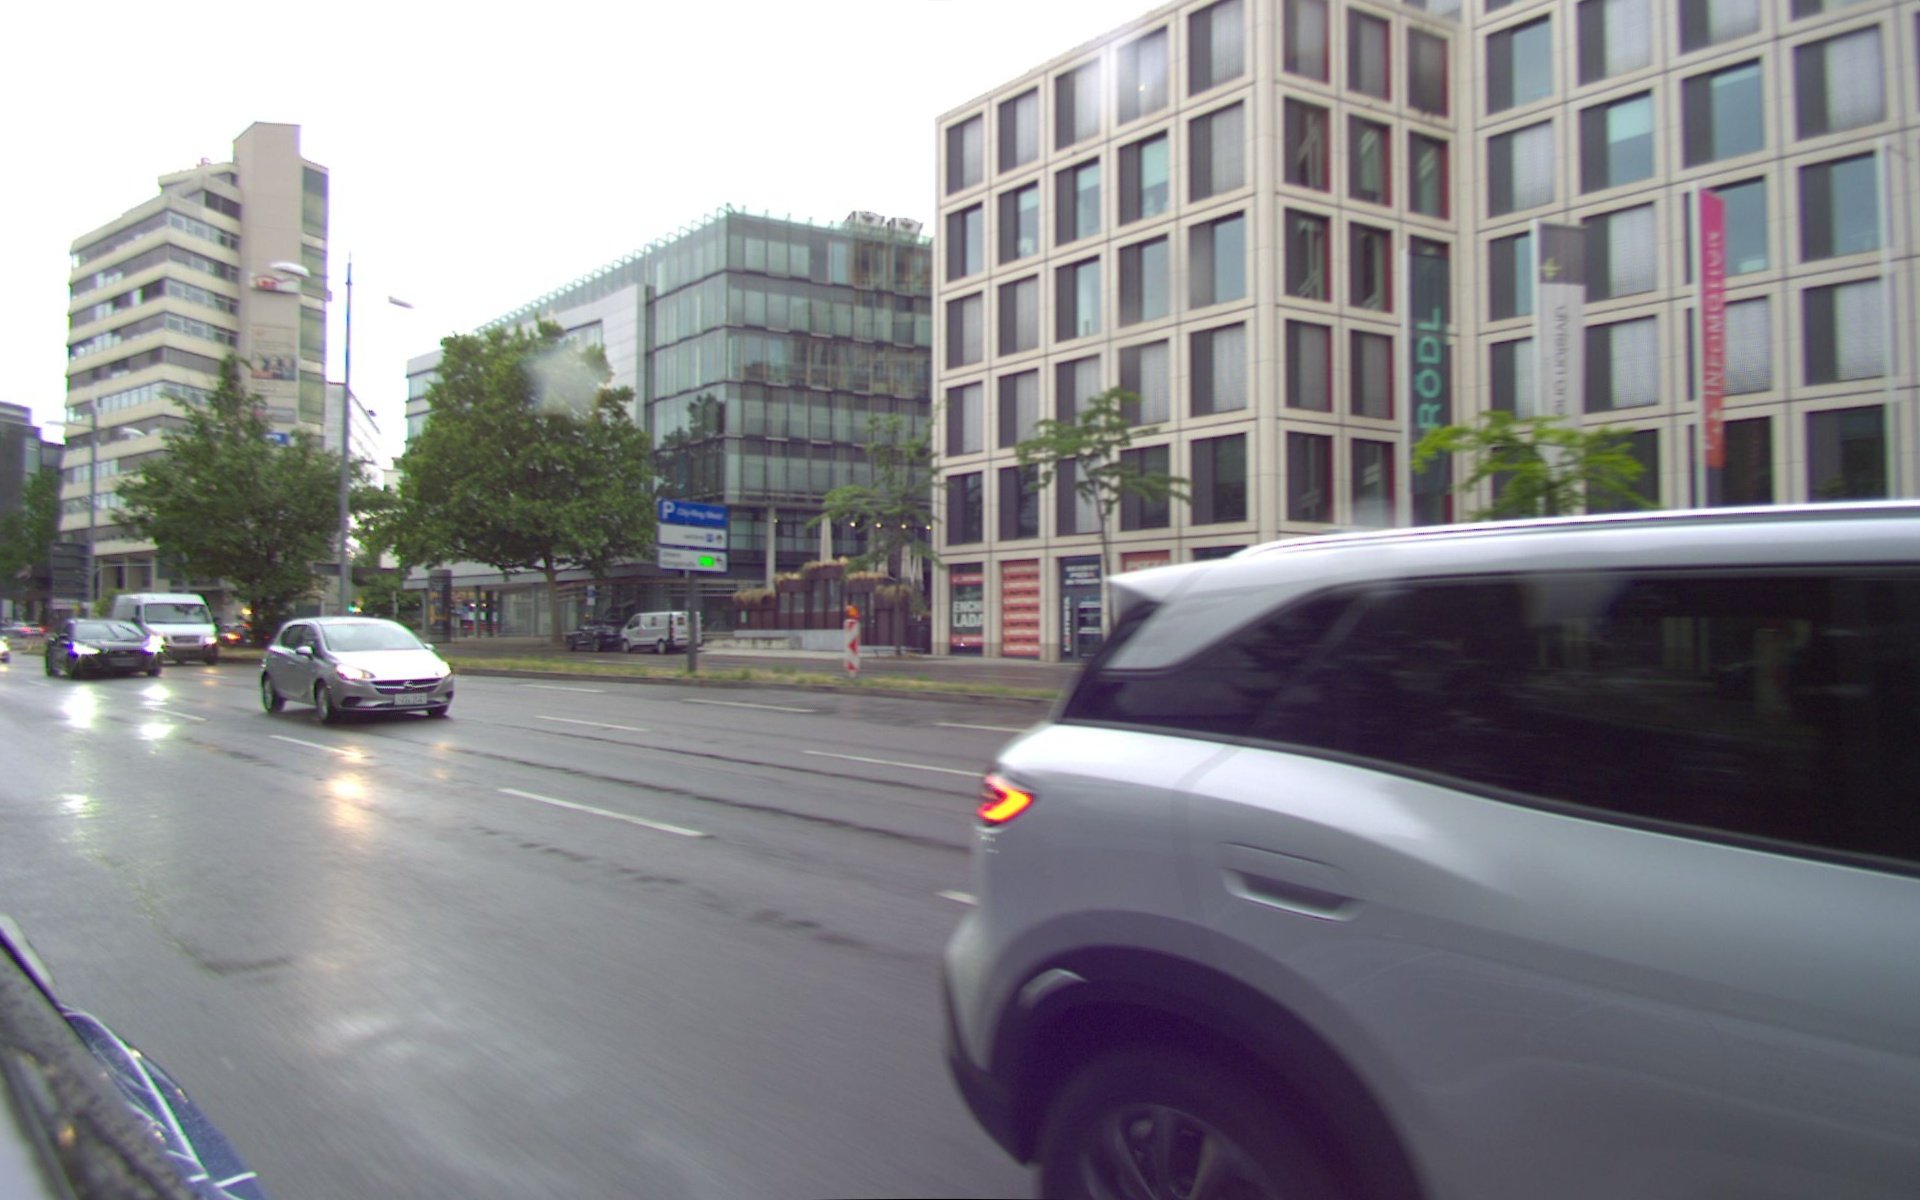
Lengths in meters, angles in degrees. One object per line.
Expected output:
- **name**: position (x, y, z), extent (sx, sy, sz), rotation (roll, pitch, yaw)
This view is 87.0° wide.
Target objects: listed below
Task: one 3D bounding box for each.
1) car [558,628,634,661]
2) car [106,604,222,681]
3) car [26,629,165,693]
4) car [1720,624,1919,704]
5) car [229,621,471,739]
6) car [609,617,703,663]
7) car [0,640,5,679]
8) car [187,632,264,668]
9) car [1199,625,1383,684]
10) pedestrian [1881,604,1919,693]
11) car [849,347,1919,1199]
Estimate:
- **car**: position (-18.605, 2.242, 51.672), extent (4.283, 1.541, 1.779), rotation (0, -1, 40)
- **car**: position (-27.036, 1.351, 34.281), extent (5.719, 2.403, 2.229), rotation (0, -1, 43)
- **car**: position (-21.909, 1.476, 25.603), extent (4.235, 1.412, 1.882), rotation (0, 0, 38)
- **car**: position (17.126, 1.200, 19.423), extent (3.953, 1.435, 1.680), rotation (-1, -3, 41)
- **car**: position (-9.270, 1.091, 15.272), extent (4.121, 1.490, 1.753), rotation (0, 0, 37)
- **car**: position (-14.554, 1.845, 48.277), extent (4.912, 2.029, 1.973), rotation (0, -1, 40)
- **car**: position (-40.784, 2.462, 41.775), extent (4.000, 1.519, 1.760), rotation (0, -1, 43)
- **car**: position (-38.163, 2.562, 52.557), extent (4.864, 1.644, 1.809), rotation (0, 0, 36)
- **car**: position (8.746, 1.406, 26.943), extent (4.371, 1.435, 1.680), rotation (-1, -3, 41)
- **pedestrian**: position (19.051, 0.962, 20.200), extent (0.967, 1.747, 0.606), rotation (-1, -1, 42)
- **car**: position (1.921, 0.569, 1.467), extent (4.168, 1.673, 1.790), rotation (0, -1, 40)
